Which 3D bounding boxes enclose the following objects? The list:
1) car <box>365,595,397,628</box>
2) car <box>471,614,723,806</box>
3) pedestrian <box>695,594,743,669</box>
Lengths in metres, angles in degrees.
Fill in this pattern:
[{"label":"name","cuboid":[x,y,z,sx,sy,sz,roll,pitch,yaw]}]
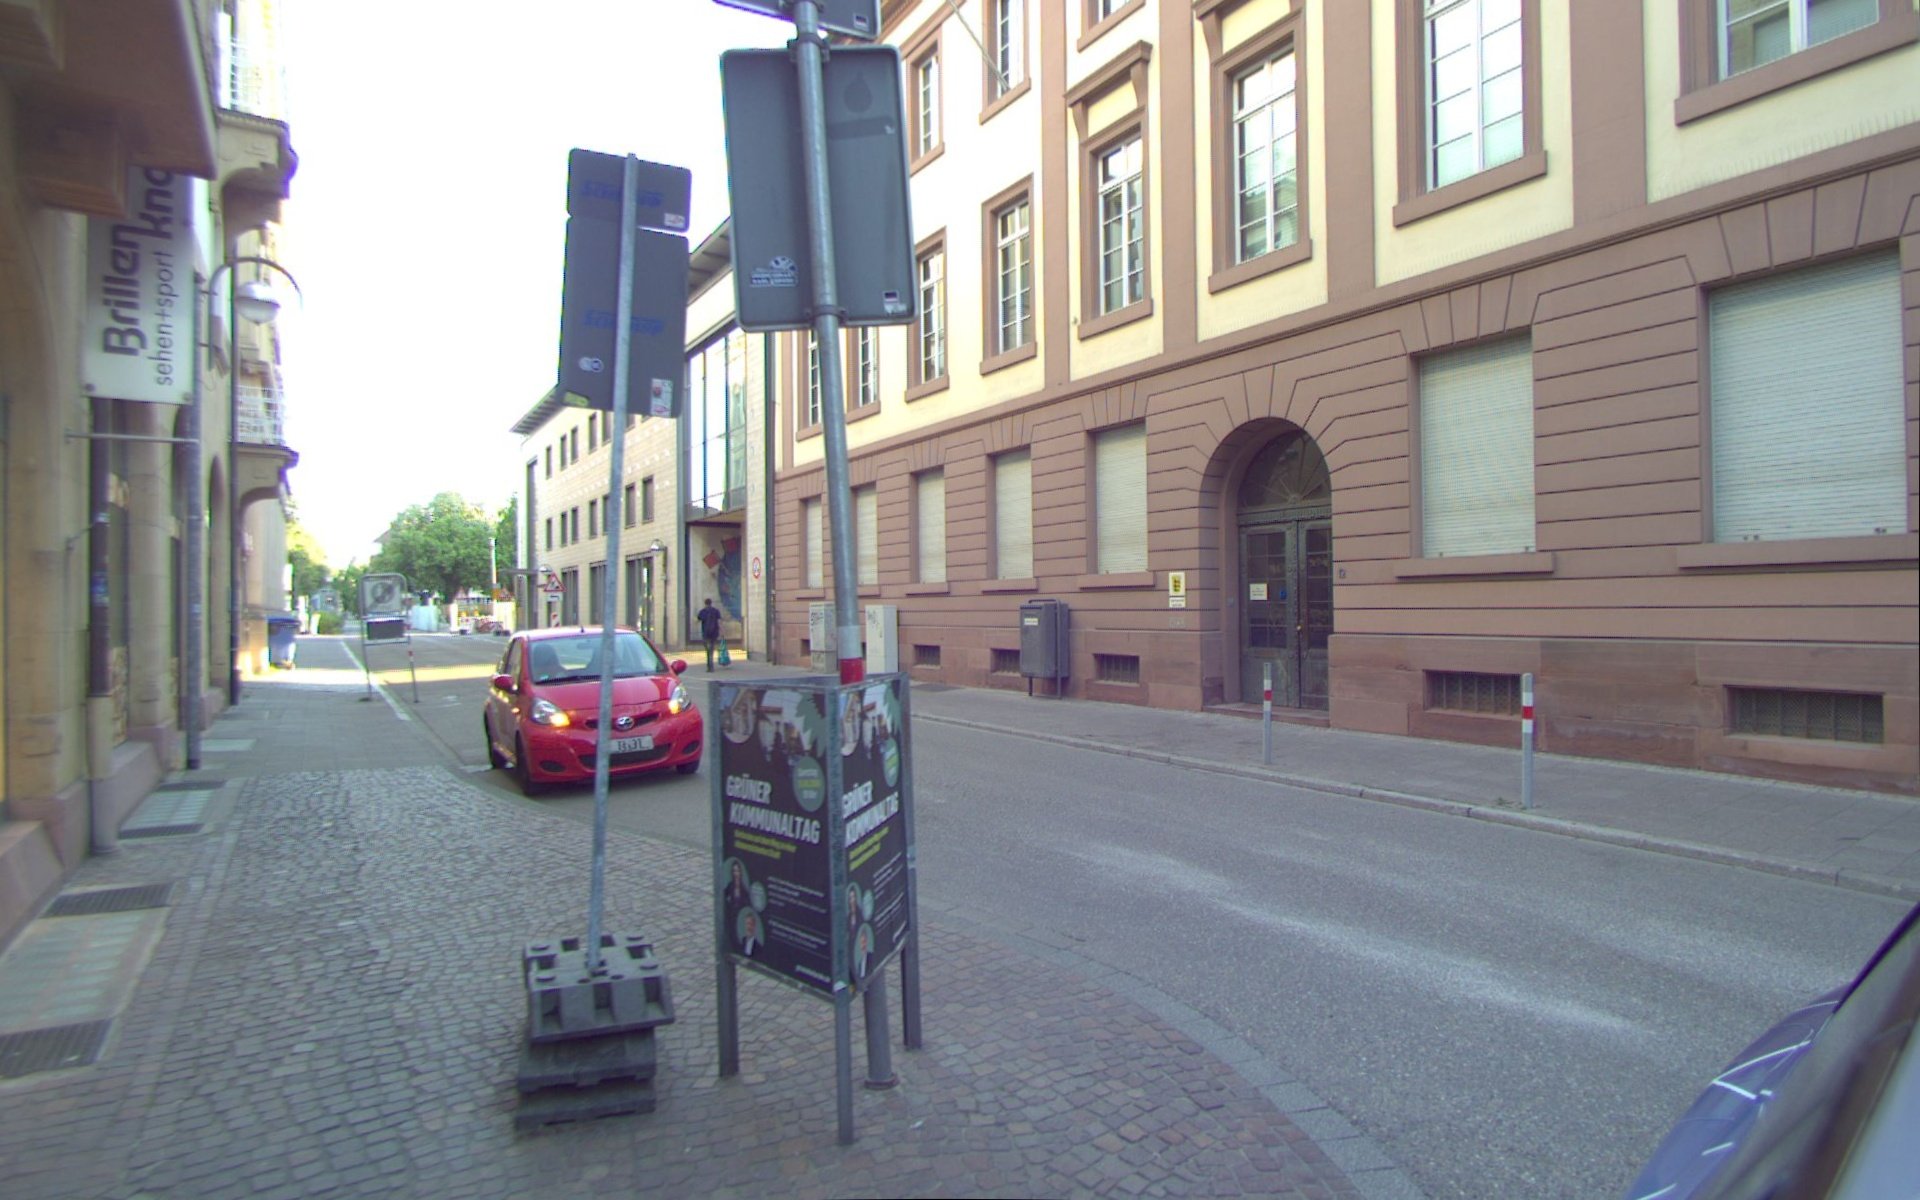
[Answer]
[{"label":"car","cuboid":[-41.450,0.807,72.539,1.901,2.334,4.004,0,0,-29]},{"label":"car","cuboid":[-3.864,0.919,10.324,1.618,1.460,4.002,-3,1,-31]},{"label":"pedestrian","cuboid":[-5.949,0.770,25.005,0.911,1.801,0.941,0,-1,-31]}]
